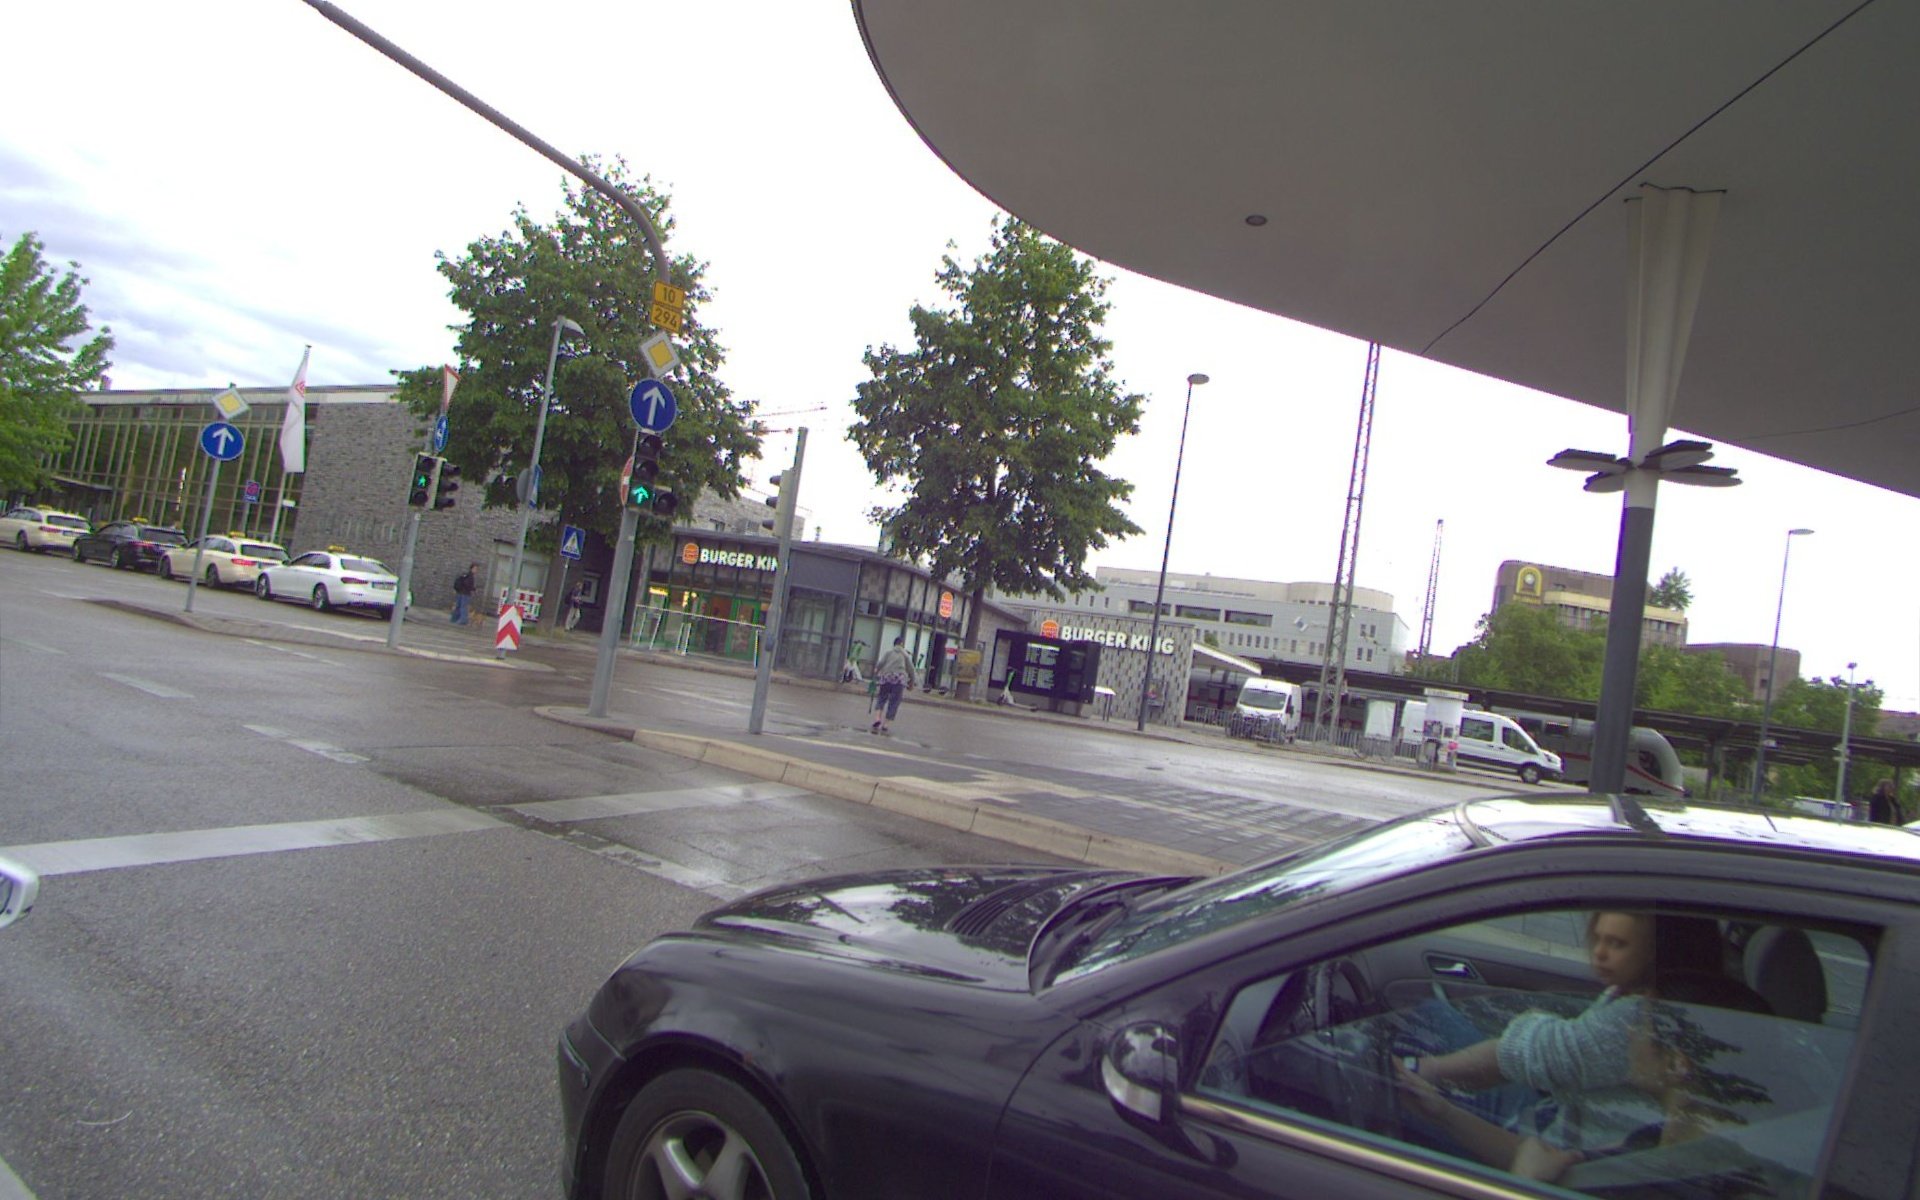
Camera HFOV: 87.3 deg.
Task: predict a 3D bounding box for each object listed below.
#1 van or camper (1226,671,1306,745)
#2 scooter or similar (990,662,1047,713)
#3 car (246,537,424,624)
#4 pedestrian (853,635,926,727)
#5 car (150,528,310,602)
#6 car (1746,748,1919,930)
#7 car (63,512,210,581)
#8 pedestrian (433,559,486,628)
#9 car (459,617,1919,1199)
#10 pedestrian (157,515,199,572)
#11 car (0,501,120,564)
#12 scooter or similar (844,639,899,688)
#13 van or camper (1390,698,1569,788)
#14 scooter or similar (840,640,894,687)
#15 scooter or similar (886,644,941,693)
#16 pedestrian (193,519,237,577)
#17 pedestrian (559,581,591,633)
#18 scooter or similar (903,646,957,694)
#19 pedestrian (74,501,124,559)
[{"bbox_3d":[12.550,4.404,41.018,2.072,2.491,5.975,7,-3,25],"label":"van or camper"},{"bbox_3d":[1.722,2.590,29.779,1.503,1.284,0.467,8,-1,-4],"label":"scooter or similar"},{"bbox_3d":[-15.843,-0.507,25.460,4.538,1.608,1.779,7,-2,30],"label":"car"},{"bbox_3d":[-1.165,1.348,16.665,0.753,1.374,0.738,7,-3,31],"label":"pedestrian"},{"bbox_3d":[-20.621,-1.004,28.387,4.588,1.468,1.851,7,-2,30],"label":"car"},{"bbox_3d":[11.244,2.790,10.569,4.360,1.665,1.807,7,-5,32],"label":"car"},{"bbox_3d":[-25.828,-1.698,31.528,4.661,1.542,1.918,7,-2,30],"label":"car"},{"bbox_3d":[-13.272,-0.165,26.698,0.700,1.693,0.809,7,-2,31],"label":"pedestrian"},{"bbox_3d":[1.312,1.097,1.772,4.361,1.493,1.754,5,-8,31],"label":"car"},{"bbox_3d":[-30.031,-2.168,38.642,0.906,2.036,0.813,7,-2,32],"label":"pedestrian"},{"bbox_3d":[-31.423,-2.374,34.539,4.736,1.618,2.000,7,-2,25],"label":"car"},{"bbox_3d":[-2.450,1.753,27.765,1.309,1.167,0.465,9,-2,-21],"label":"scooter or similar"},{"bbox_3d":[20.349,5.539,39.549,5.873,2.491,2.108,7,-2,32],"label":"van or camper"},{"bbox_3d":[-2.619,1.803,28.423,1.313,1.157,0.464,9,-2,-31],"label":"scooter or similar"},{"bbox_3d":[-1.401,2.059,30.352,1.503,1.284,0.467,8,-1,-4],"label":"scooter or similar"},{"bbox_3d":[-28.049,-1.949,37.875,0.906,2.036,0.813,7,-2,31],"label":"pedestrian"},{"bbox_3d":[-13.065,0.238,34.145,0.556,1.652,0.562,7,-2,30],"label":"pedestrian"},{"bbox_3d":[-0.939,2.157,31.177,1.503,1.284,0.467,8,-1,-4],"label":"scooter or similar"},{"bbox_3d":[-32.855,-2.661,38.404,0.904,2.036,0.815,8,-1,8],"label":"pedestrian"}]
